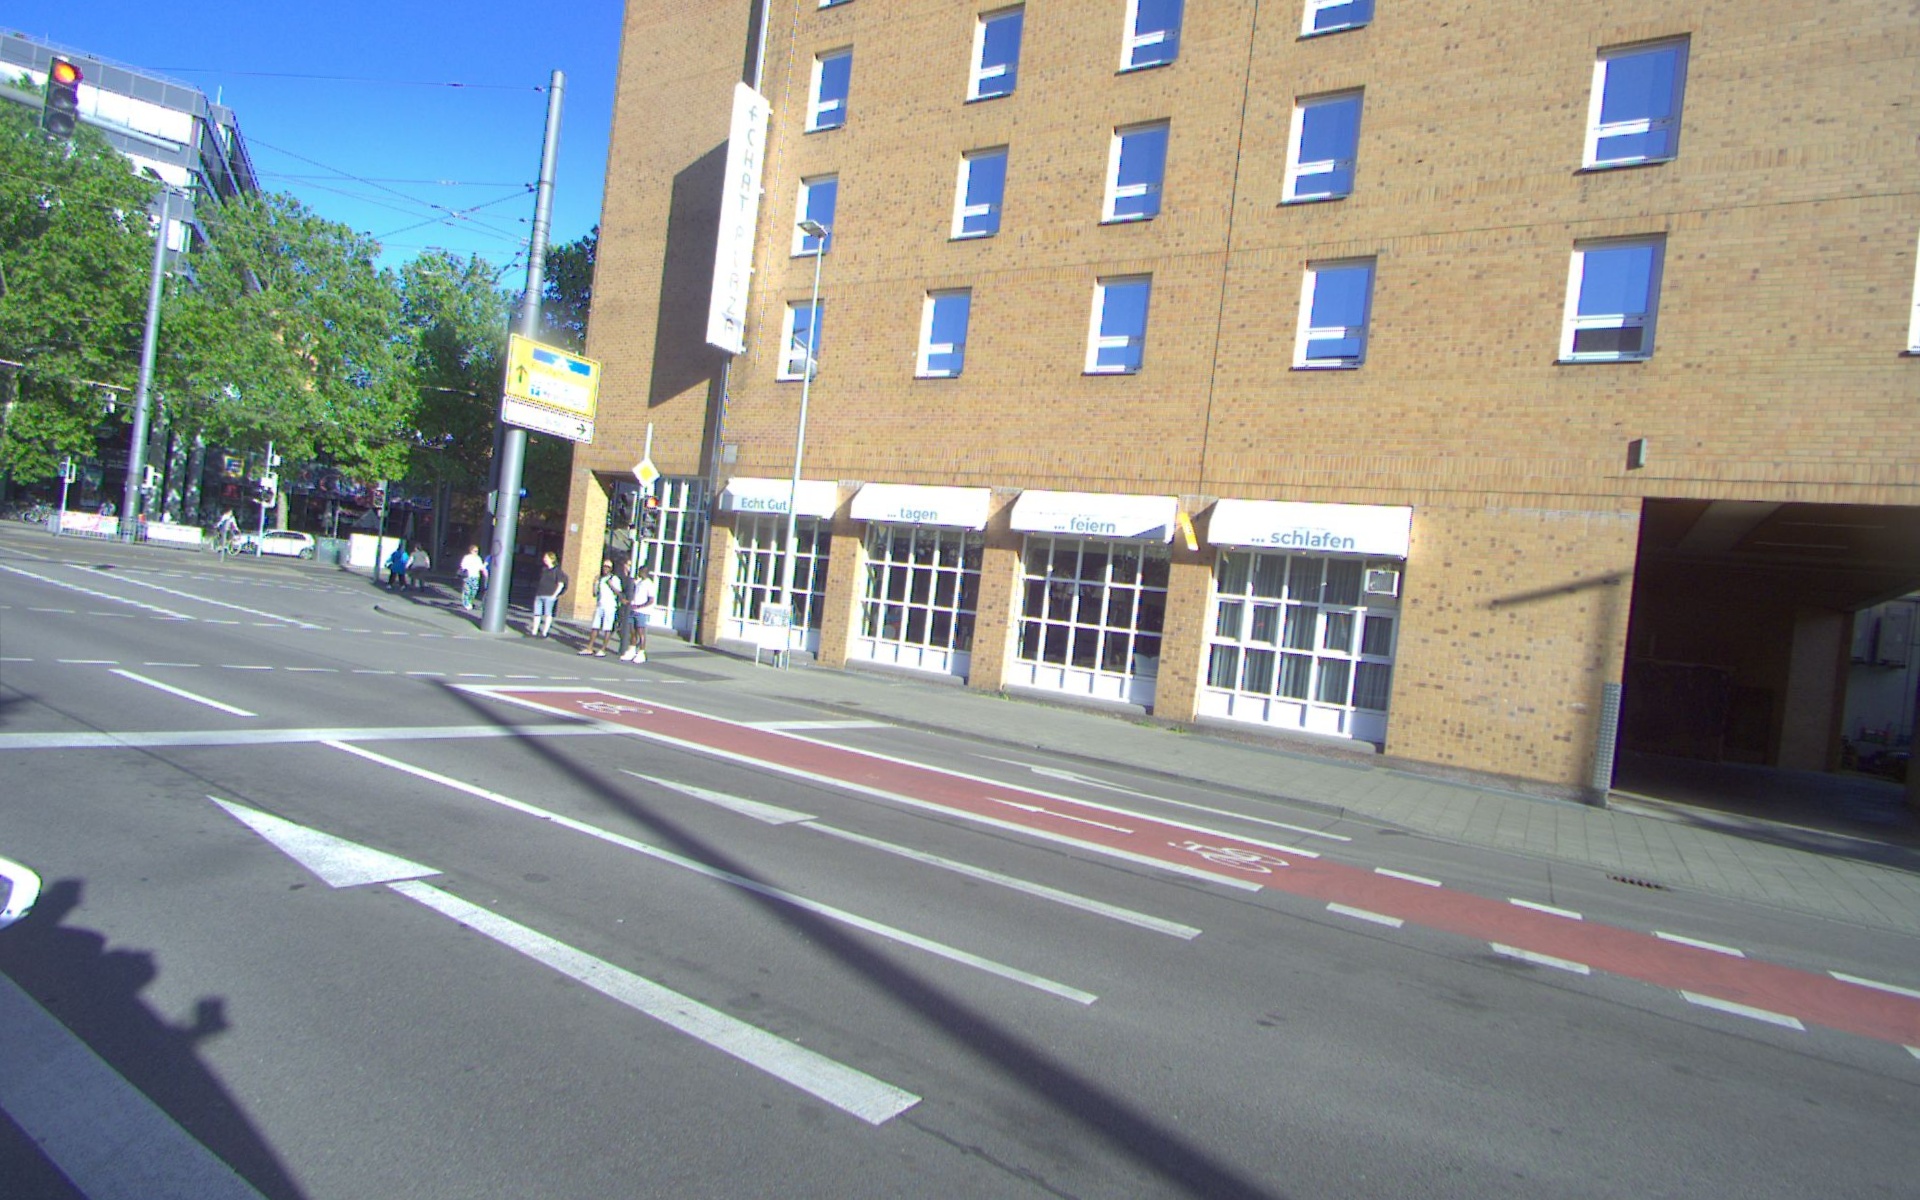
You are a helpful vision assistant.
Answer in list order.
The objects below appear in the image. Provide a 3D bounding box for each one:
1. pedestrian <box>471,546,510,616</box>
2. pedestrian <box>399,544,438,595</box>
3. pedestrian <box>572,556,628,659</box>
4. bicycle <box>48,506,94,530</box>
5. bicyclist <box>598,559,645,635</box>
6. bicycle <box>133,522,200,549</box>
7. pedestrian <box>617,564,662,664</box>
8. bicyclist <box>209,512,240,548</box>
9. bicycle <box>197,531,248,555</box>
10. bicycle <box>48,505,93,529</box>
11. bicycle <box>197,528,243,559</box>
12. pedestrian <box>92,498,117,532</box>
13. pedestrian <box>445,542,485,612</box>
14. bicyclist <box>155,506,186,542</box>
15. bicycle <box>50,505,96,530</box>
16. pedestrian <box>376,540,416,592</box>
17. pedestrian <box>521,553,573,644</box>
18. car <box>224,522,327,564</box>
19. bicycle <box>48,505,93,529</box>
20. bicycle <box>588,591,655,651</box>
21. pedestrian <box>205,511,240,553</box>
[{"bbox_3d":[-12.417,-0.503,26.604,0.600,1.747,0.595,8,-1,-43],"label":"pedestrian"},{"bbox_3d":[-17.975,-1.000,33.400,0.729,1.557,0.652,7,-1,24],"label":"pedestrian"},{"bbox_3d":[-6.755,0.140,18.898,0.719,1.857,0.497,5,2,-3],"label":"pedestrian"},{"bbox_3d":[-46.009,-4.242,52.088,1.700,0.998,0.386,7,0,-45],"label":"bicycle"},{"bbox_3d":[-7.258,-0.068,21.543,0.576,1.536,0.839,1,6,-44],"label":"bicyclist"},{"bbox_3d":[-47.833,-3.893,60.669,0.824,1.126,3.035,7,-1,43],"label":"bicycle"},{"bbox_3d":[-5.970,0.258,18.728,0.570,1.797,0.403,7,2,38],"label":"pedestrian"},{"bbox_3d":[-36.331,-3.457,49.689,0.627,1.635,0.926,7,0,35],"label":"bicyclist"},{"bbox_3d":[-36.423,-2.812,49.692,0.642,0.921,1.854,7,-1,36],"label":"bicycle"},{"bbox_3d":[-46.960,-4.381,53.101,1.700,0.998,0.386,7,0,-45],"label":"bicycle"},{"bbox_3d":[-30.620,-2.353,41.631,1.891,1.064,0.791,6,-2,32],"label":"bicycle"},{"bbox_3d":[-50.268,-4.987,59.106,0.845,1.873,0.799,10,-2,-44],"label":"pedestrian"},{"bbox_3d":[-12.801,-0.594,26.002,0.650,1.723,0.560,6,-1,45],"label":"pedestrian"},{"bbox_3d":[-47.677,-4.569,60.755,0.824,1.955,1.224,7,0,44],"label":"bicyclist"},{"bbox_3d":[-45.390,-4.214,51.506,1.700,0.998,0.386,7,0,-45],"label":"bicycle"},{"bbox_3d":[-18.243,-1.085,32.548,0.729,1.557,0.677,7,-1,24],"label":"pedestrian"},{"bbox_3d":[-8.581,-0.034,20.919,0.683,1.789,0.573,8,0,-9],"label":"pedestrian"},{"bbox_3d":[-36.206,-3.007,53.302,1.969,1.503,3.990,6,-2,36],"label":"car"},{"bbox_3d":[-46.644,-4.342,52.751,1.700,0.998,0.386,7,0,-45],"label":"bicycle"},{"bbox_3d":[-7.256,0.430,21.519,0.598,1.065,1.857,1,5,-44],"label":"bicycle"},{"bbox_3d":[-30.505,-2.811,41.625,0.824,1.612,0.771,6,-1,31],"label":"pedestrian"}]
